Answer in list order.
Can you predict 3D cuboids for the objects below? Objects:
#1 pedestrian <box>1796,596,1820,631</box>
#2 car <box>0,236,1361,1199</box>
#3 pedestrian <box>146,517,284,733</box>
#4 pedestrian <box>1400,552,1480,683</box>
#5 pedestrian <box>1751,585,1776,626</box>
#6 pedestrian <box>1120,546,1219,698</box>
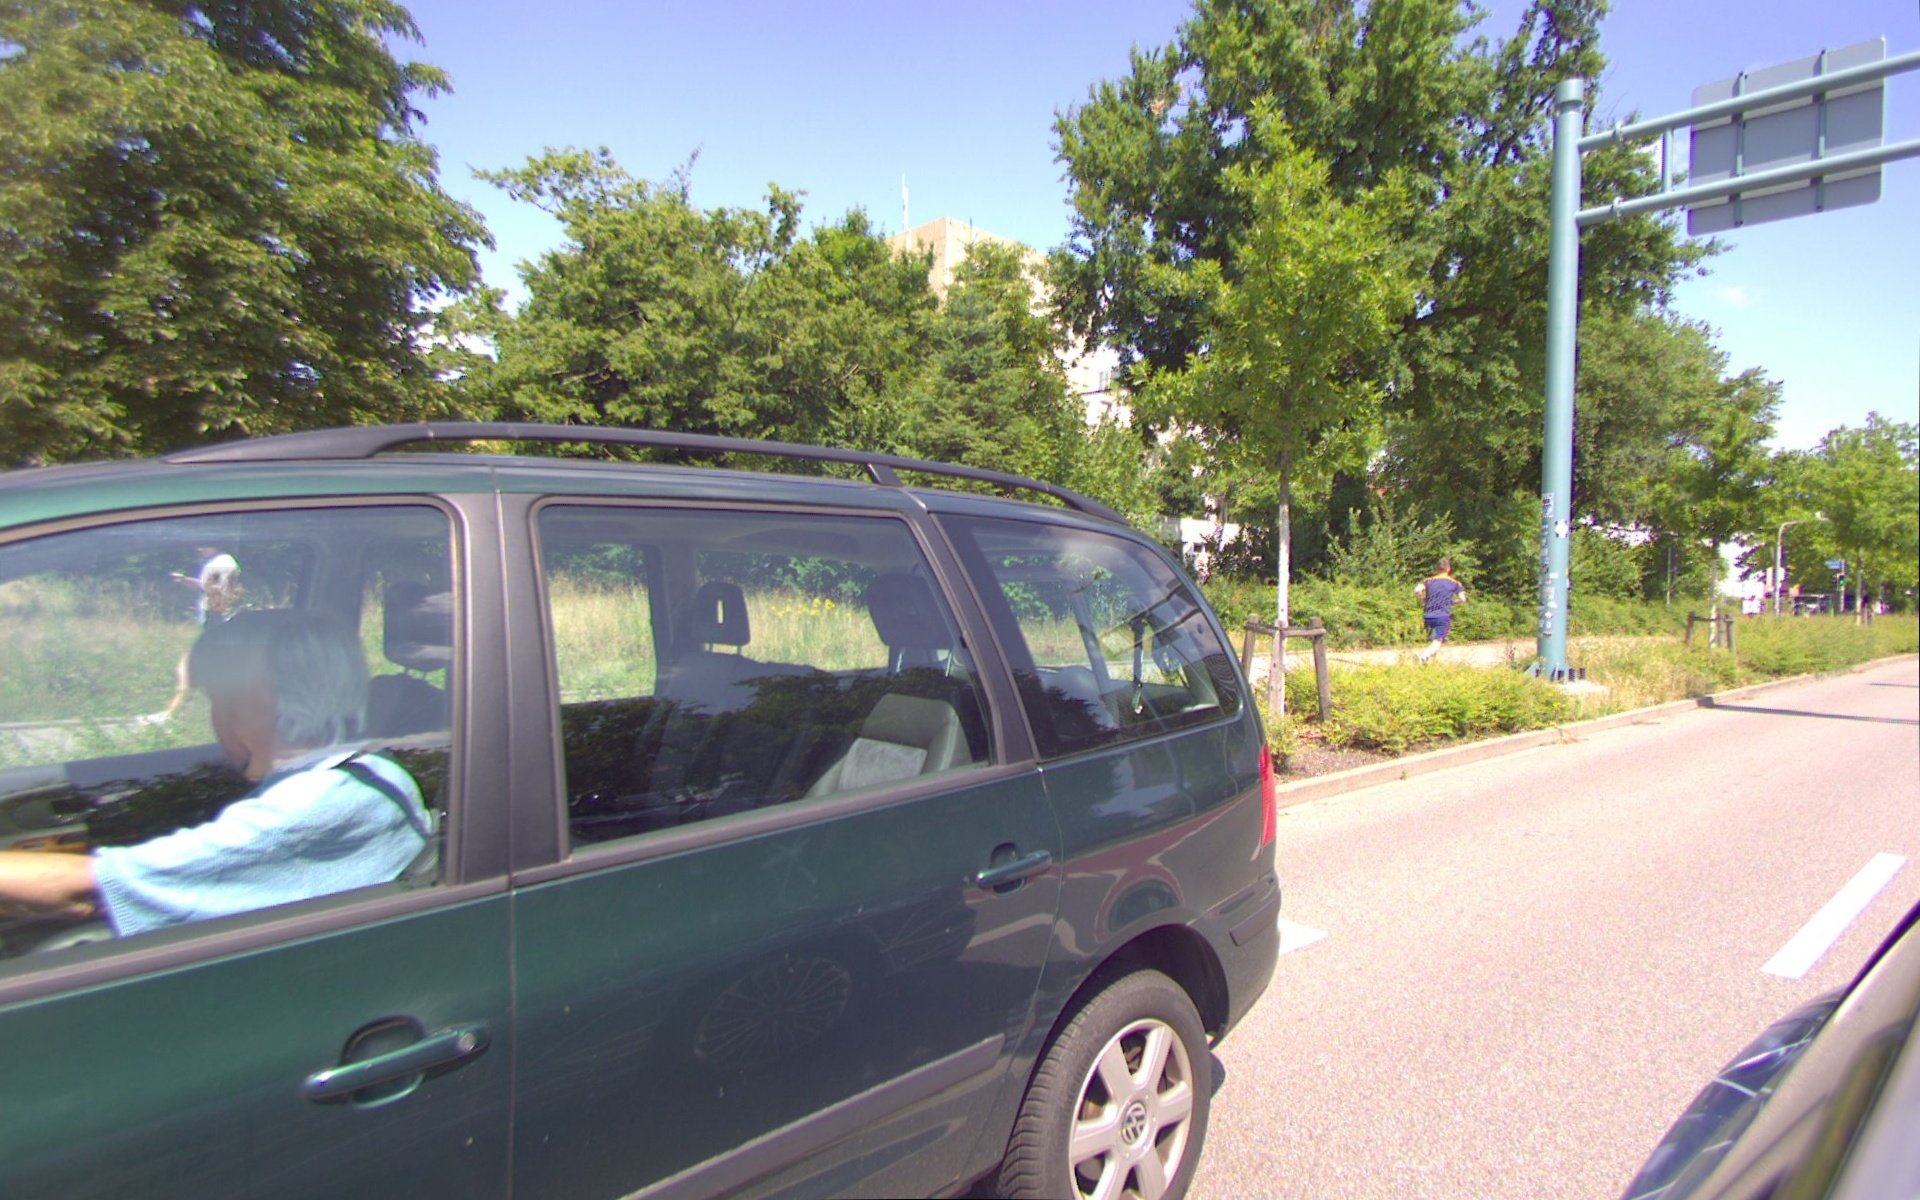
[{"bbox_3d":[40.623,0.622,48.480,0.752,1.630,0.765,1,1,-45],"label":"pedestrian"},{"bbox_3d":[-1.133,0.526,1.972,4.315,1.737,1.804,0,-1,-41],"label":"car"},{"bbox_3d":[-5.838,0.173,7.927,0.802,1.576,0.760,1,1,-41],"label":"pedestrian"},{"bbox_3d":[6.783,0.229,14.313,0.869,1.787,0.640,1,1,-35],"label":"pedestrian"},{"bbox_3d":[41.411,0.261,52.142,0.839,2.063,0.892,1,0,30],"label":"pedestrian"},{"bbox_3d":[2.464,0.243,11.938,0.799,1.705,0.762,1,1,-29],"label":"pedestrian"}]
